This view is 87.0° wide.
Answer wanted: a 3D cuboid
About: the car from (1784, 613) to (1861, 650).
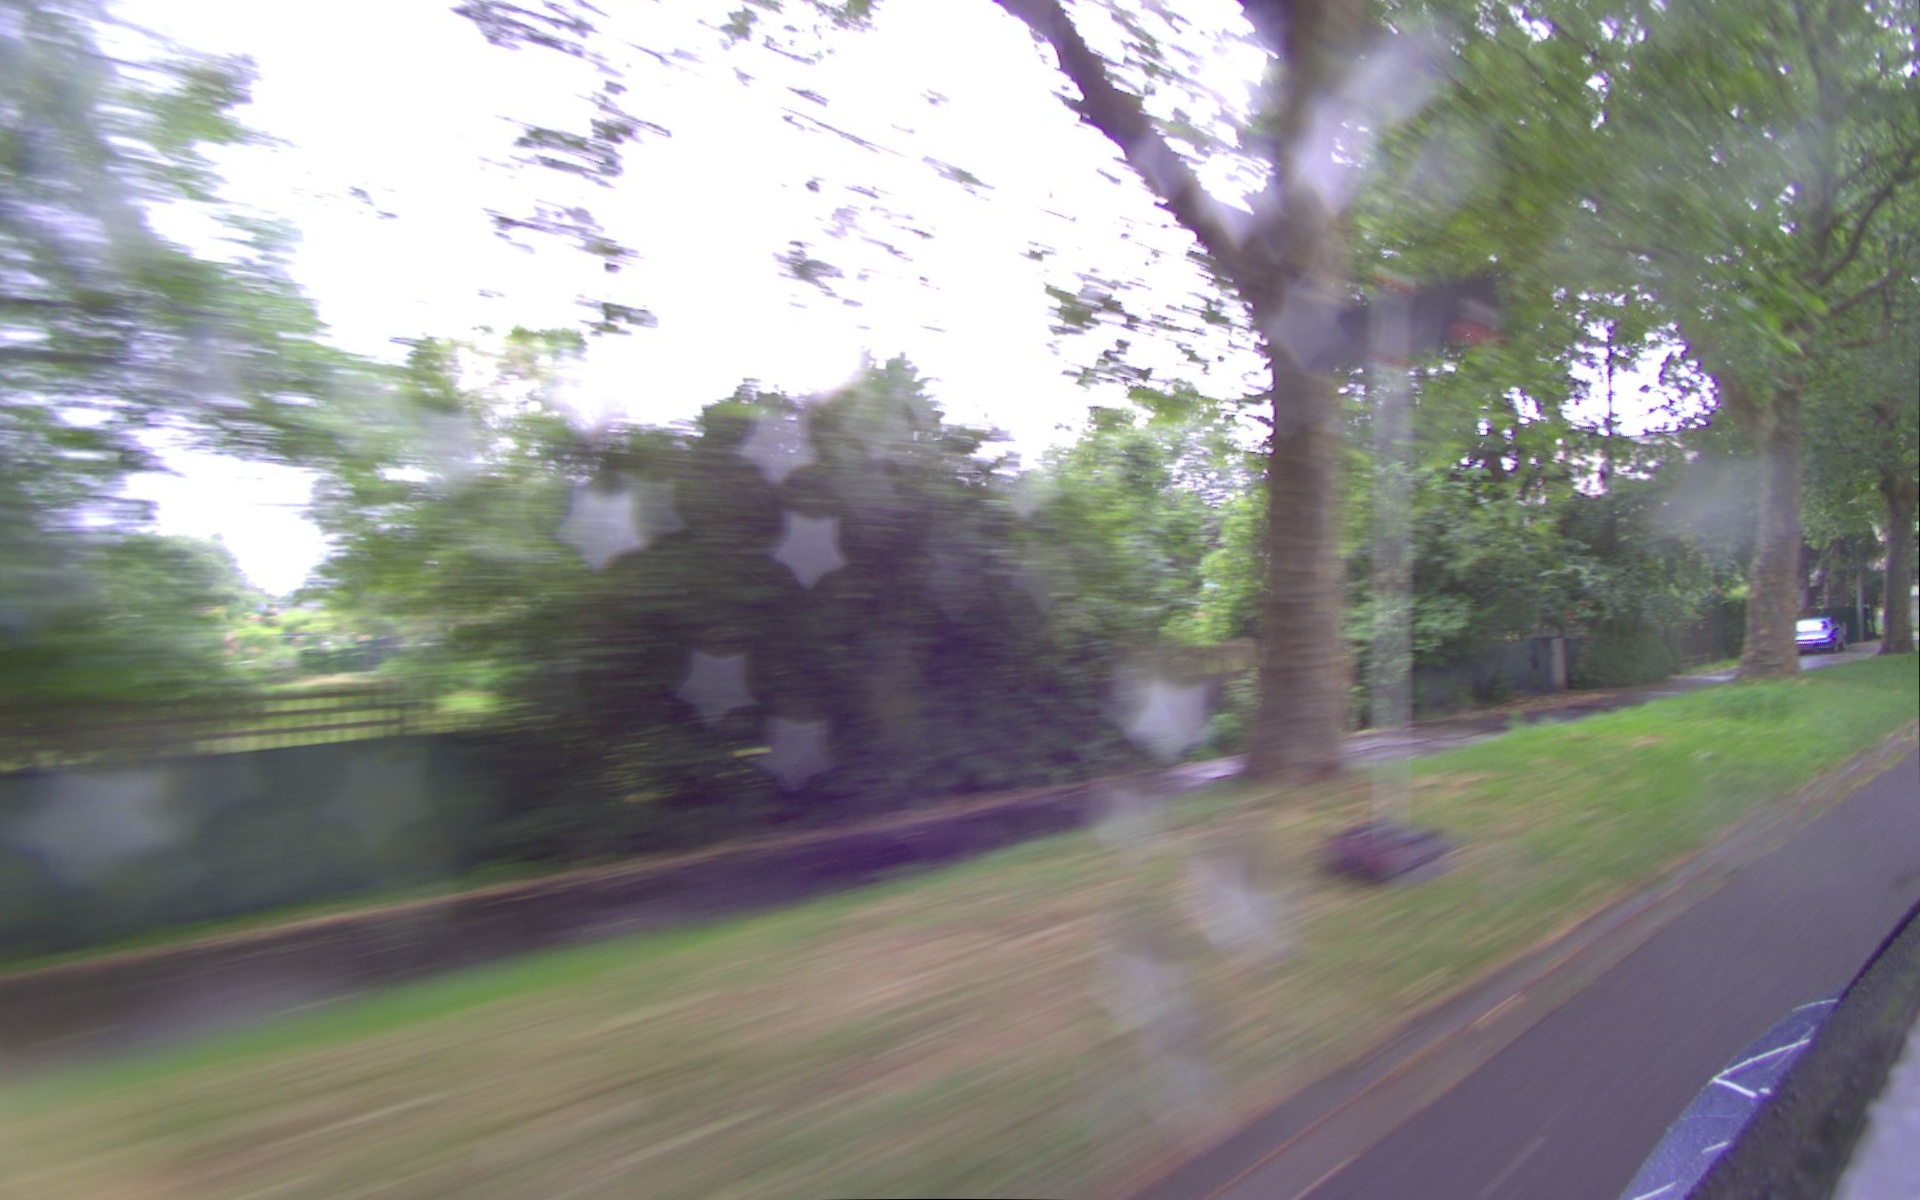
[{"bbox_3d":[35.542,1.286,41.680,3.931,1.343,1.797,0,-4,-42],"label":"car"}]
